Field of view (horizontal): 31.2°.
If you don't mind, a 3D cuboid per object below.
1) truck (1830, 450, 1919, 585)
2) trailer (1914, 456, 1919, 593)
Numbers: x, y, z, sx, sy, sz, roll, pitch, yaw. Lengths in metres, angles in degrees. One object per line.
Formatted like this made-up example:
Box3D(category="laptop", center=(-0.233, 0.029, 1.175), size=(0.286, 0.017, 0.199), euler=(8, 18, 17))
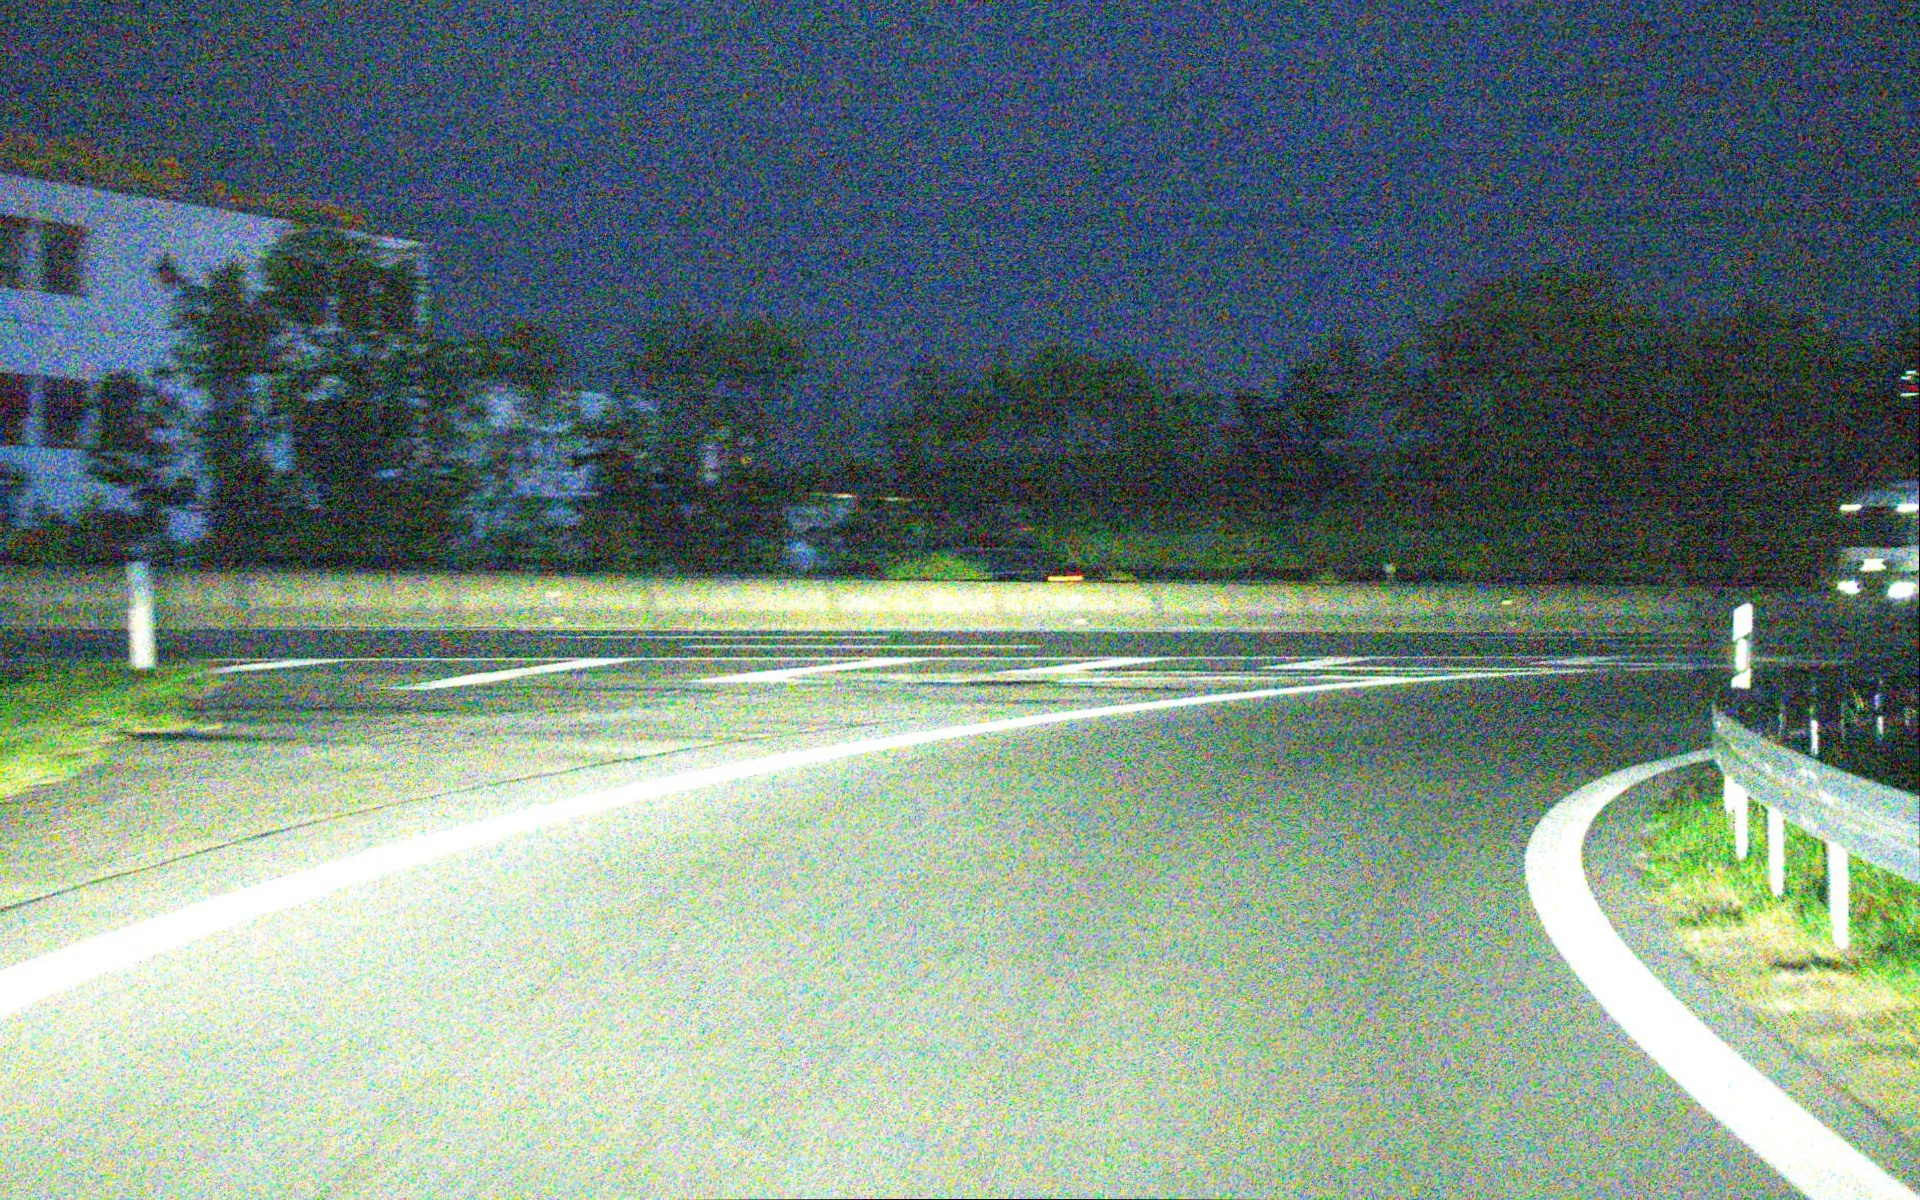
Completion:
Box3D(category="truck", center=(26.943, -2.200, 94.312), size=(5.944, 3.583, 2.767), euler=(1, 1, -37))
Box3D(category="trailer", center=(32.961, -1.979, 98.549), size=(13.716, 3.803, 2.767), euler=(1, 1, -36))
